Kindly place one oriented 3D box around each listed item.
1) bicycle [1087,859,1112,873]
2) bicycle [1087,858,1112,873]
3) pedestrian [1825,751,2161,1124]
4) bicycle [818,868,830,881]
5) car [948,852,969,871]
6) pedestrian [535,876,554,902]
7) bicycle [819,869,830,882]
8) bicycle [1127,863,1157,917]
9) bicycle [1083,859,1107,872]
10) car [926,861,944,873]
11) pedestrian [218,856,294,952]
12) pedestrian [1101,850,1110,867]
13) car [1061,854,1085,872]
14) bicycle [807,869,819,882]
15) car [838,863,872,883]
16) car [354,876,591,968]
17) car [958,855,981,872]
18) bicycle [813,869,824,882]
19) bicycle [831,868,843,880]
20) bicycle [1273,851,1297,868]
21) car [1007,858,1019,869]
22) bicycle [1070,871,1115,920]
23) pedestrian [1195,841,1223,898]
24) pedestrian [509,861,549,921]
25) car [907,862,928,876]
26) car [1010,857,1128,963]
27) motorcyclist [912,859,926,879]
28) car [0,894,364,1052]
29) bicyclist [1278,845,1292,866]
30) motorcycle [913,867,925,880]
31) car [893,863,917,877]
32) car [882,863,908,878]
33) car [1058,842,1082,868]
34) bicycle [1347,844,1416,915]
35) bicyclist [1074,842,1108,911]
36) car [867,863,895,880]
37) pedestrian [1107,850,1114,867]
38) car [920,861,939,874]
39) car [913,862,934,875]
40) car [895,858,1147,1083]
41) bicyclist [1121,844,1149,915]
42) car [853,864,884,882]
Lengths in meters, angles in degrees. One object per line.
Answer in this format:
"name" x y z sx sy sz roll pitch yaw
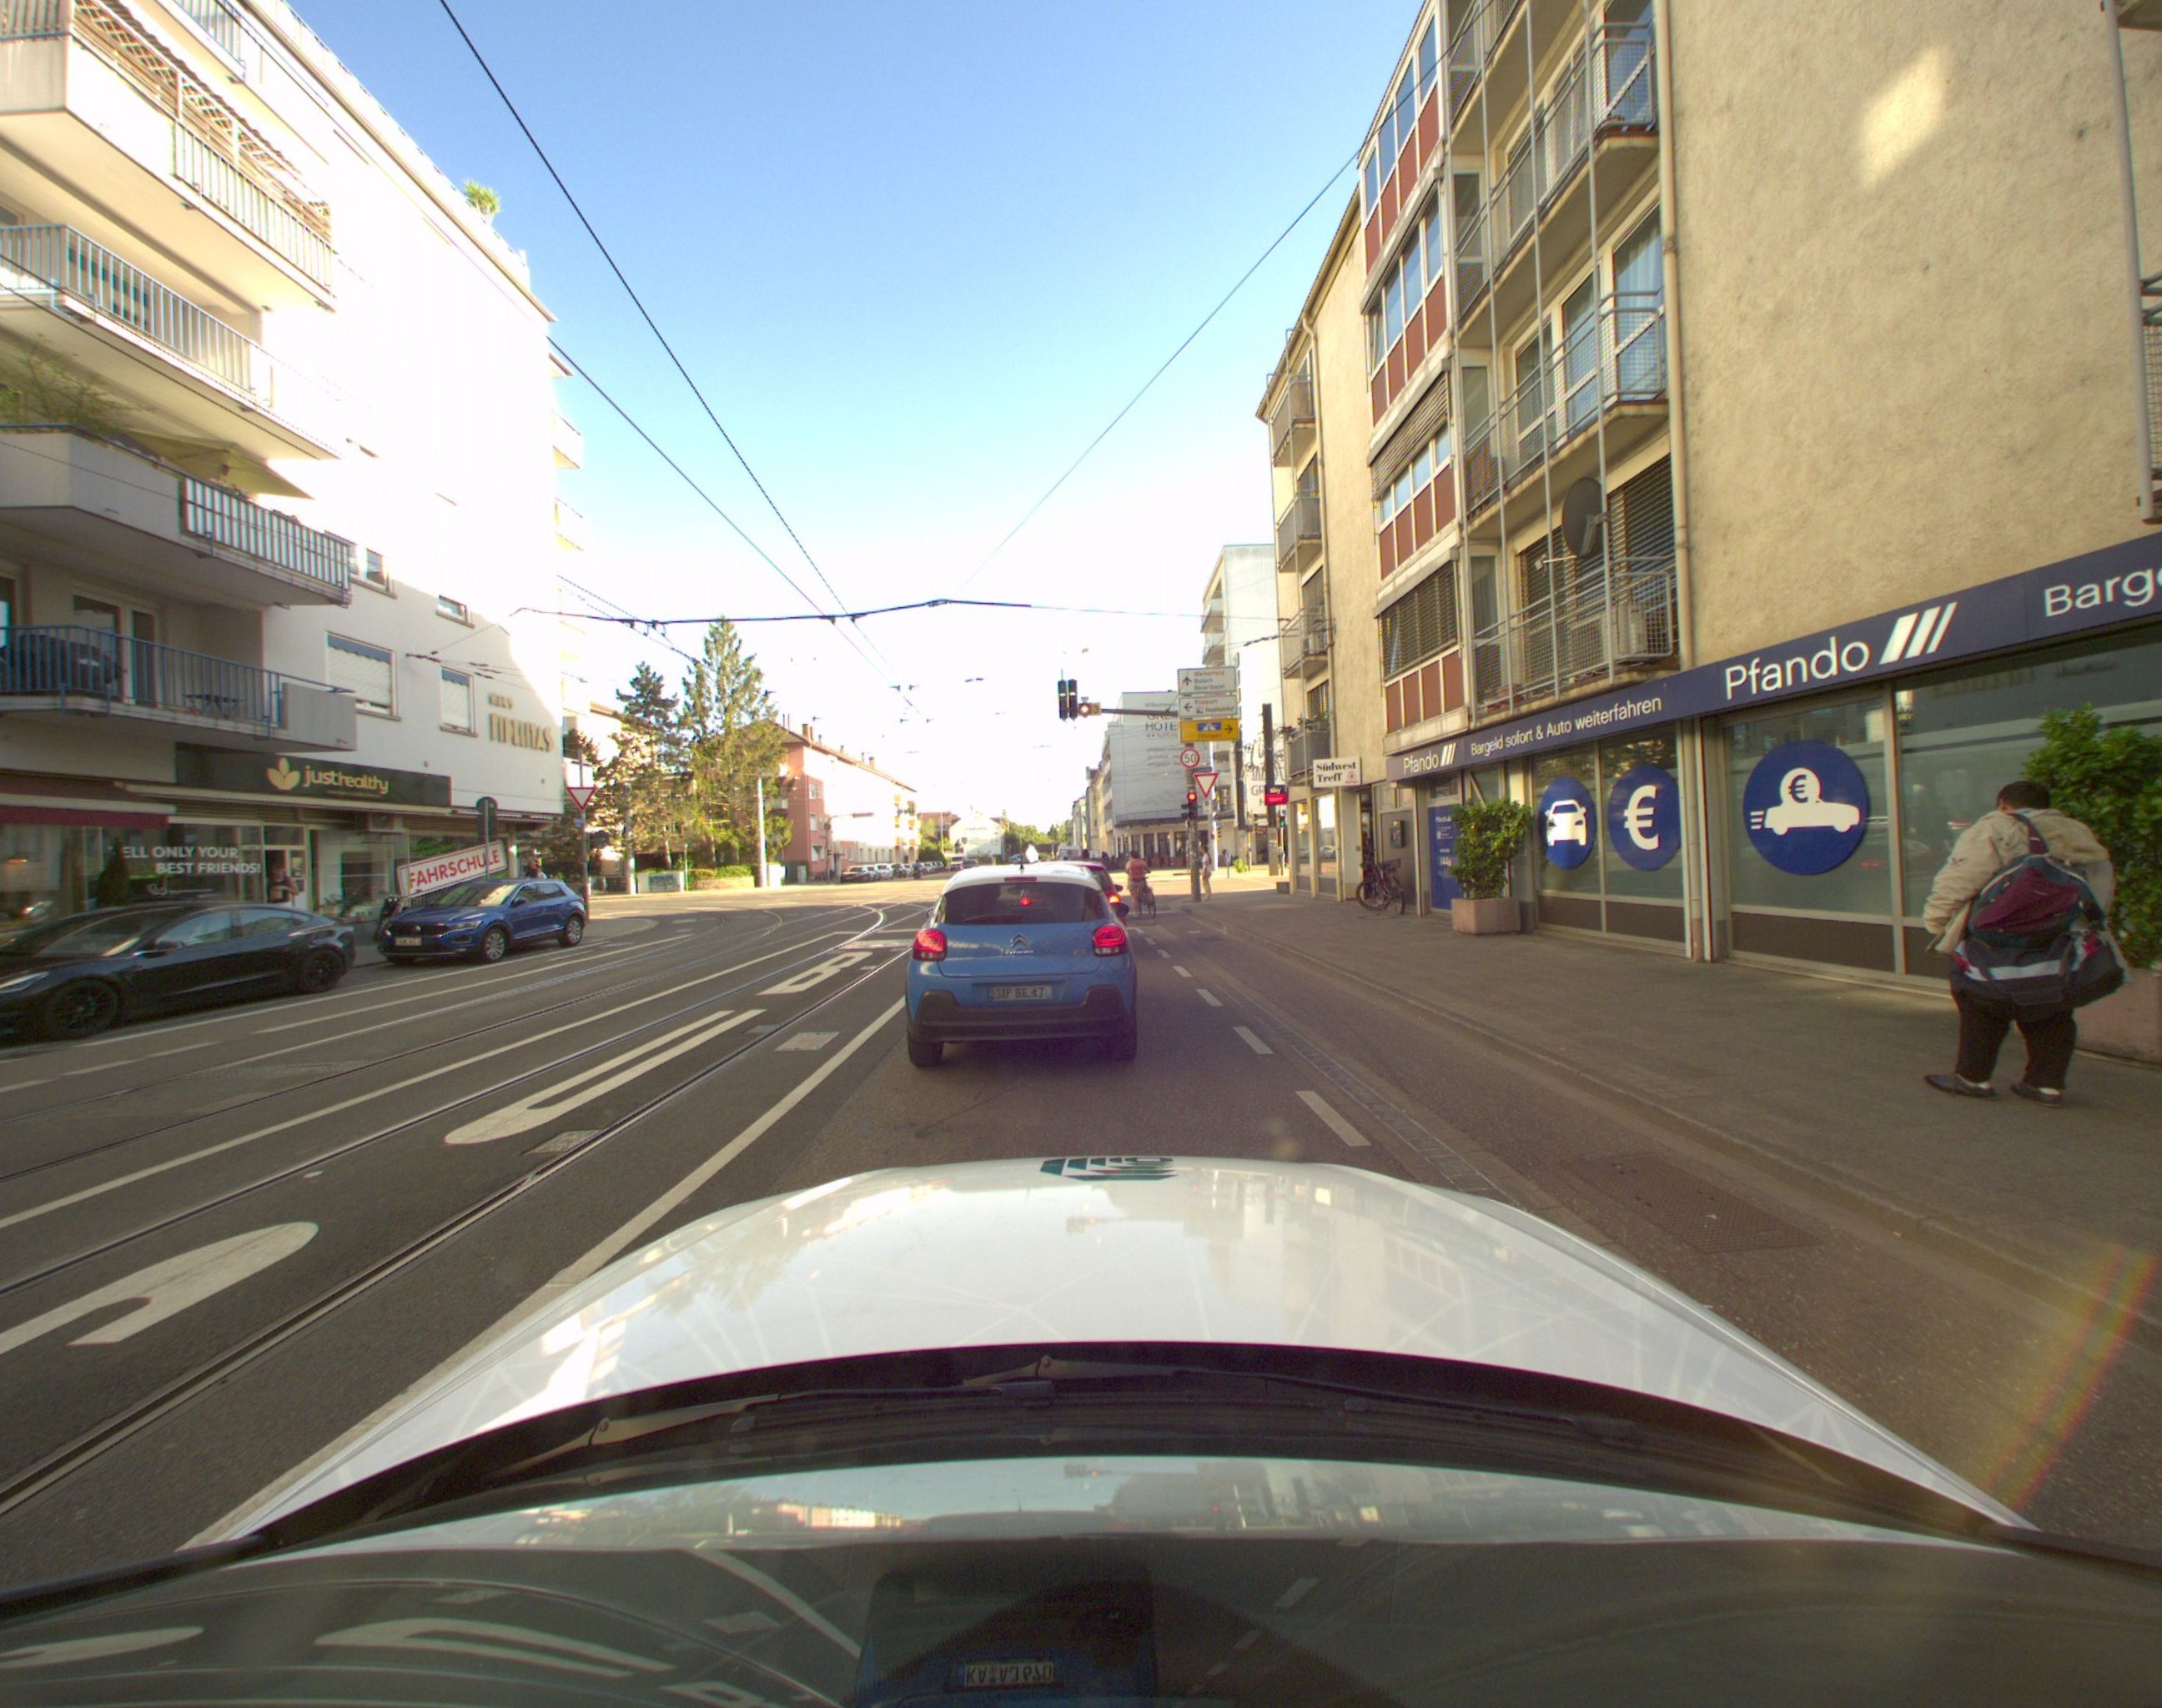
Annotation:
"bicycle" 1.527 0.962 67.229 1.901 1.064 0.641 -2 0 -6
"bicycle" 1.518 0.932 65.923 1.901 1.064 0.641 -2 0 -6
"pedestrian" 4.502 0.349 3.969 0.871 1.571 0.868 -4 0 -1
"bicycle" -23.048 1.842 73.095 0.536 1.082 1.908 -2 0 -4
"car" -18.123 1.106 120.564 2.489 2.712 5.828 -2 0 -5
"pedestrian" -36.812 2.393 55.909 0.805 1.702 0.681 -2 0 1
"bicycle" -21.594 1.793 68.461 0.537 1.082 1.905 -2 0 -9
"bicycle" 1.533 0.885 20.715 0.611 1.264 1.911 -2 0 2
"bicycle" 1.162 0.954 68.432 1.901 1.064 0.641 -2 0 -6
"car" -20.721 1.854 115.672 1.947 1.519 3.995 -2 0 -4
"pedestrian" -16.525 0.976 16.330 0.749 1.857 0.671 -2 0 -4
"pedestrian" 2.106 0.398 70.367 0.520 1.420 0.550 -3 0 22
"car" -0.714 0.743 67.974 1.783 1.359 3.909 -2 0 -4
"bicycle" -22.378 1.793 68.066 0.640 1.082 1.905 -2 0 -9
"car" -19.288 1.600 69.608 1.947 1.519 3.995 -2 0 -4
"car" -11.878 1.241 16.314 1.720 1.505 4.113 0 0 -2
"car" -11.514 0.993 84.197 2.002 1.627 5.044 -2 0 -5
"bicycle" -21.972 1.793 68.176 0.537 1.082 1.905 -2 0 -9
"bicycle" -22.714 1.860 75.791 0.608 1.082 1.908 -2 0 -4
"bicycle" 14.270 0.386 57.032 1.474 1.091 0.609 -3 0 39
"car" -14.261 1.986 171.399 2.333 2.039 5.044 -2 0 -4
"bicycle" 0.254 0.984 19.899 0.617 1.103 1.878 -2 0 -13
"pedestrian" 3.831 0.453 24.338 0.747 1.635 0.742 -2 0 7
"pedestrian" -17.447 1.169 25.733 0.761 1.834 0.725 -3 0 28
"car" -19.848 1.787 99.014 1.947 1.519 3.995 -2 0 -4
"car" -0.226 0.808 13.696 1.675 1.462 3.997 -1 0 -2
"motorcyclist" -13.472 1.270 67.682 0.990 1.631 0.737 -2 0 -7
"car" -11.984 1.327 10.411 1.720 1.403 4.486 0 0 -2
"bicyclist" 14.268 0.106 57.013 0.720 1.434 0.609 -3 0 39
"motorcycle" -13.482 1.597 67.749 0.751 0.976 2.092 -2 0 -7
"car" -19.978 1.791 92.584 1.947 1.519 3.995 -2 0 -4
"car" -19.727 1.740 86.517 1.947 1.519 3.995 -2 0 -4
"car" -1.036 0.088 73.435 2.074 2.269 5.647 -1 0 -2
"bicycle" 5.759 0.455 15.727 0.637 1.264 1.911 -2 0 2
"bicyclist" 0.239 0.537 19.882 0.617 1.630 0.756 -2 0 -13
"car" -19.557 1.685 79.844 1.947 1.519 3.995 -2 0 -4
"pedestrian" 2.526 0.381 70.106 0.467 1.420 0.524 -2 0 -11
"car" -20.295 1.775 109.316 1.947 1.519 3.995 -2 0 -4
"car" -20.094 1.802 104.027 1.947 1.519 3.995 -2 0 -4
"car" -0.452 0.788 7.487 1.675 1.462 3.997 -1 0 -2
"bicyclist" 1.369 0.631 20.681 0.598 1.746 1.084 -2 0 2
"car" -19.569 1.718 75.232 1.947 1.519 4.040 -2 0 -4
